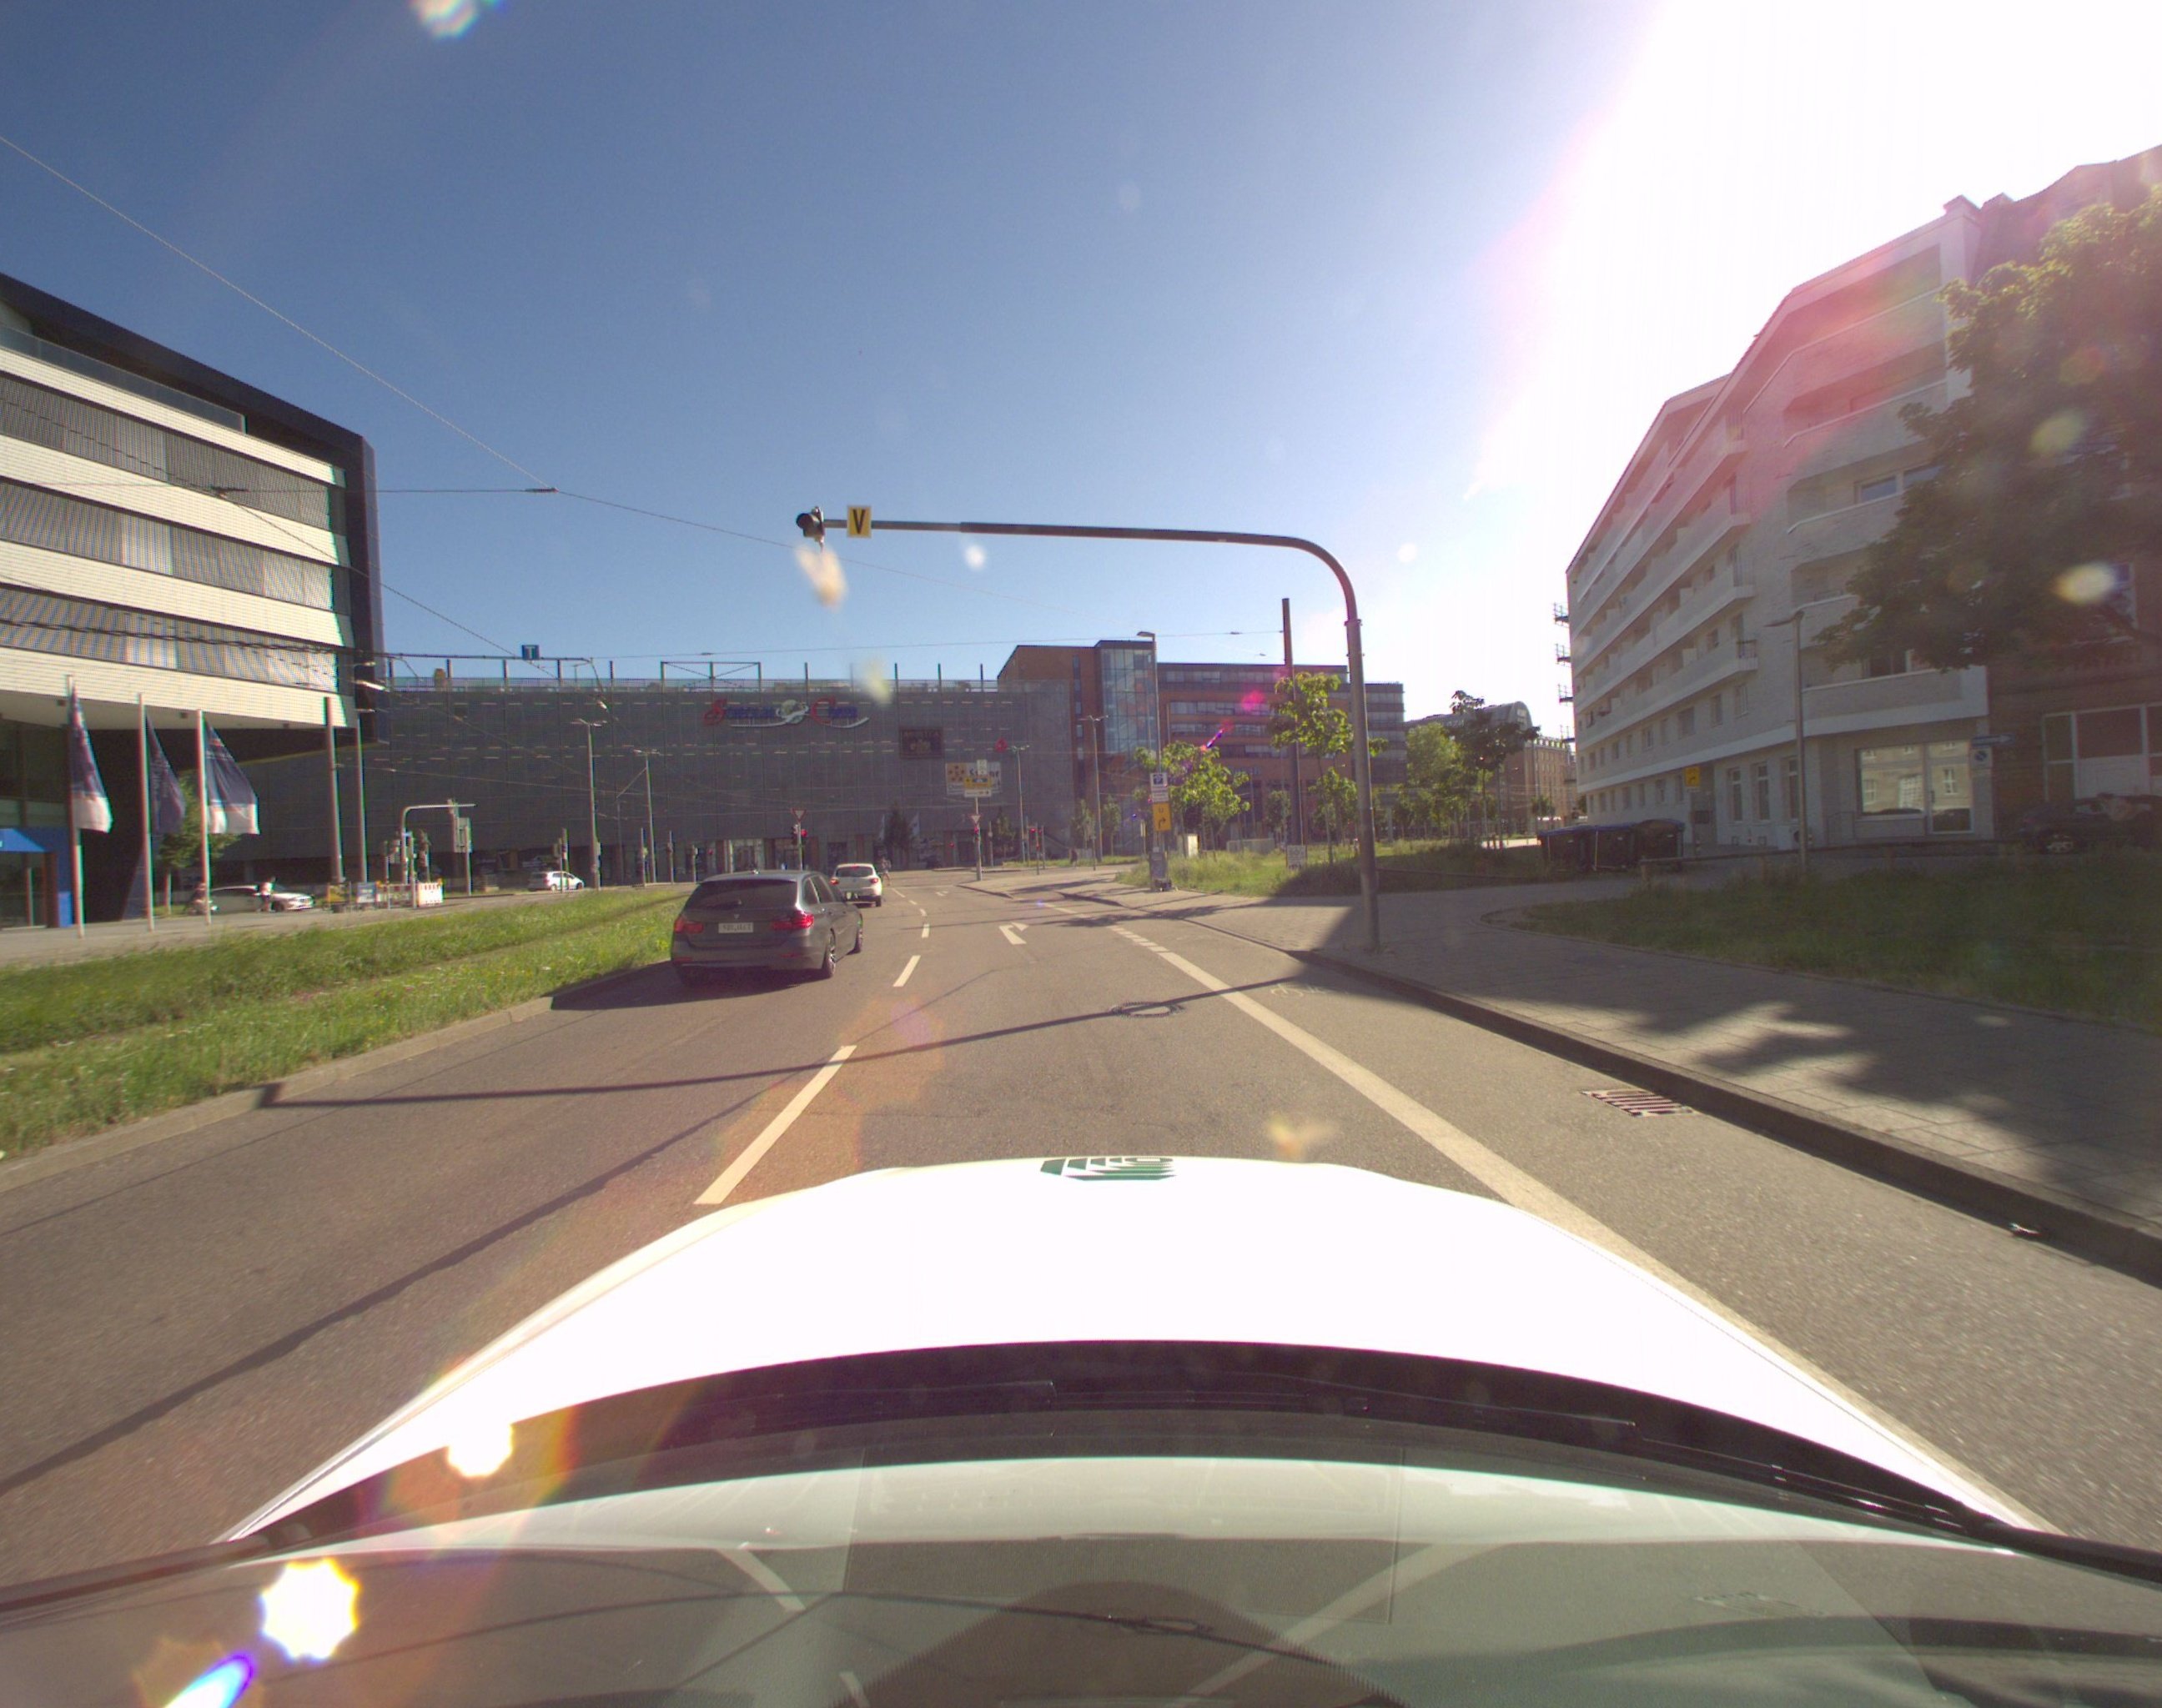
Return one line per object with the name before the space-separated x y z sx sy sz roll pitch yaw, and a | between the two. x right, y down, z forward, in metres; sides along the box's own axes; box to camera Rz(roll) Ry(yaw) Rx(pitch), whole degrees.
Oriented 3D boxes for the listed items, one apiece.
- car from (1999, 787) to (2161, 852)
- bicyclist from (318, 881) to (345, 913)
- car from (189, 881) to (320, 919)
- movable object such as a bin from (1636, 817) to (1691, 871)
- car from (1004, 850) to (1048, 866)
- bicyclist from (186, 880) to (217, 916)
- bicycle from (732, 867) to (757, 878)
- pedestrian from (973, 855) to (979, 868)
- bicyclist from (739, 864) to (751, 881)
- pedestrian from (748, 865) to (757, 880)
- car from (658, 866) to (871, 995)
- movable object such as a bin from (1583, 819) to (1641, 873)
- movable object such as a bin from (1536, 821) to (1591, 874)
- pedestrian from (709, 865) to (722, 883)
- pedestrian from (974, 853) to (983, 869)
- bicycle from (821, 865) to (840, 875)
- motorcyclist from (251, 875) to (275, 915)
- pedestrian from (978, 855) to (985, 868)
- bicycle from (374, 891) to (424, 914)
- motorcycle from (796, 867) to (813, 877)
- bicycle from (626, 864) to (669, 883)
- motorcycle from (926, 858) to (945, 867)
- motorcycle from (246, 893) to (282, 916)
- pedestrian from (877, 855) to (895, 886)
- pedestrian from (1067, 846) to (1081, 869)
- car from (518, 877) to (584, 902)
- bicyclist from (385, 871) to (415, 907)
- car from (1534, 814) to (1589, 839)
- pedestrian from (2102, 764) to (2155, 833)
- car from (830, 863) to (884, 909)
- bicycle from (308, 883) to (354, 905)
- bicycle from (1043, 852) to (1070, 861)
car | 25.769 -0.872 20.106 2.011 1.436 4.059 -2 0 -41
bicyclist | -39.504 2.251 42.941 0.785 1.648 0.686 -3 0 -18
car | -44.235 2.432 43.710 4.501 1.634 1.828 -3 1 -18
movable object such as a bin | 15.676 -0.268 21.916 1.019 1.398 1.097 -3 0 42
car | -5.894 0.428 87.552 4.497 1.494 1.486 -3 0 -17
bicyclist | -44.893 2.248 41.578 0.766 1.789 0.758 -3 0 -20
bicycle | -36.273 2.022 87.868 1.033 1.070 2.259 -3 0 33
pedestrian | -12.692 0.909 98.167 0.590 1.462 0.654 -3 0 -17
bicyclist | -36.256 1.993 87.855 0.805 1.803 0.850 -3 0 32
pedestrian | -38.337 2.140 94.923 0.850 1.763 0.616 -3 0 -17
car | -4.137 0.886 11.431 1.732 1.423 4.456 0 -1 -7
movable object such as a bin | 14.674 -0.226 22.508 1.096 1.398 1.329 -3 0 42
movable object such as a bin | 13.603 -0.182 22.955 1.058 1.398 1.312 -3 0 42
pedestrian | -39.174 2.152 87.367 0.894 1.868 0.826 -3 0 26
pedestrian | -11.651 0.761 92.669 0.857 1.738 0.748 -3 0 -23
bicycle | -29.512 1.837 95.909 2.031 1.059 1.138 -3 0 -17
motorcyclist | -41.954 2.108 41.780 0.629 2.013 0.495 -3 0 -16
pedestrian | -12.034 0.913 98.429 0.590 1.534 0.654 -3 0 -17
bicycle | -36.721 2.596 43.872 1.833 1.116 0.849 -3 0 -16
motorcycle | -30.879 2.026 90.836 1.650 1.059 0.496 -3 0 -7
bicycle | -48.934 2.182 91.952 3.995 2.013 1.323 -2 0 -16
motorcycle | -17.827 1.074 99.565 2.207 1.042 1.055 -2 0 -16
motorcycle | -41.920 2.588 41.782 1.189 1.121 0.480 -3 0 -17
pedestrian | -11.147 0.960 46.516 0.888 1.707 0.708 -3 0 -17
pedestrian | -0.545 0.295 62.570 0.808 1.708 0.757 -2 0 -17
car | -40.616 2.713 62.494 1.738 1.794 4.019 -2 -1 19
bicyclist | -36.683 1.862 43.899 0.904 1.859 0.849 -3 0 -16
car | 42.906 -2.419 72.692 3.948 2.013 2.013 -3 0 37
pedestrian | 24.917 -1.301 19.377 0.774 1.577 0.636 -2 0 -31
car | -7.519 1.022 27.316 1.636 1.423 3.761 0 -1 -16
bicycle | -39.542 2.091 42.936 1.581 1.107 0.729 1 -1 -20
bicycle | -3.168 0.348 104.488 3.361 1.077 1.113 -2 0 -11
